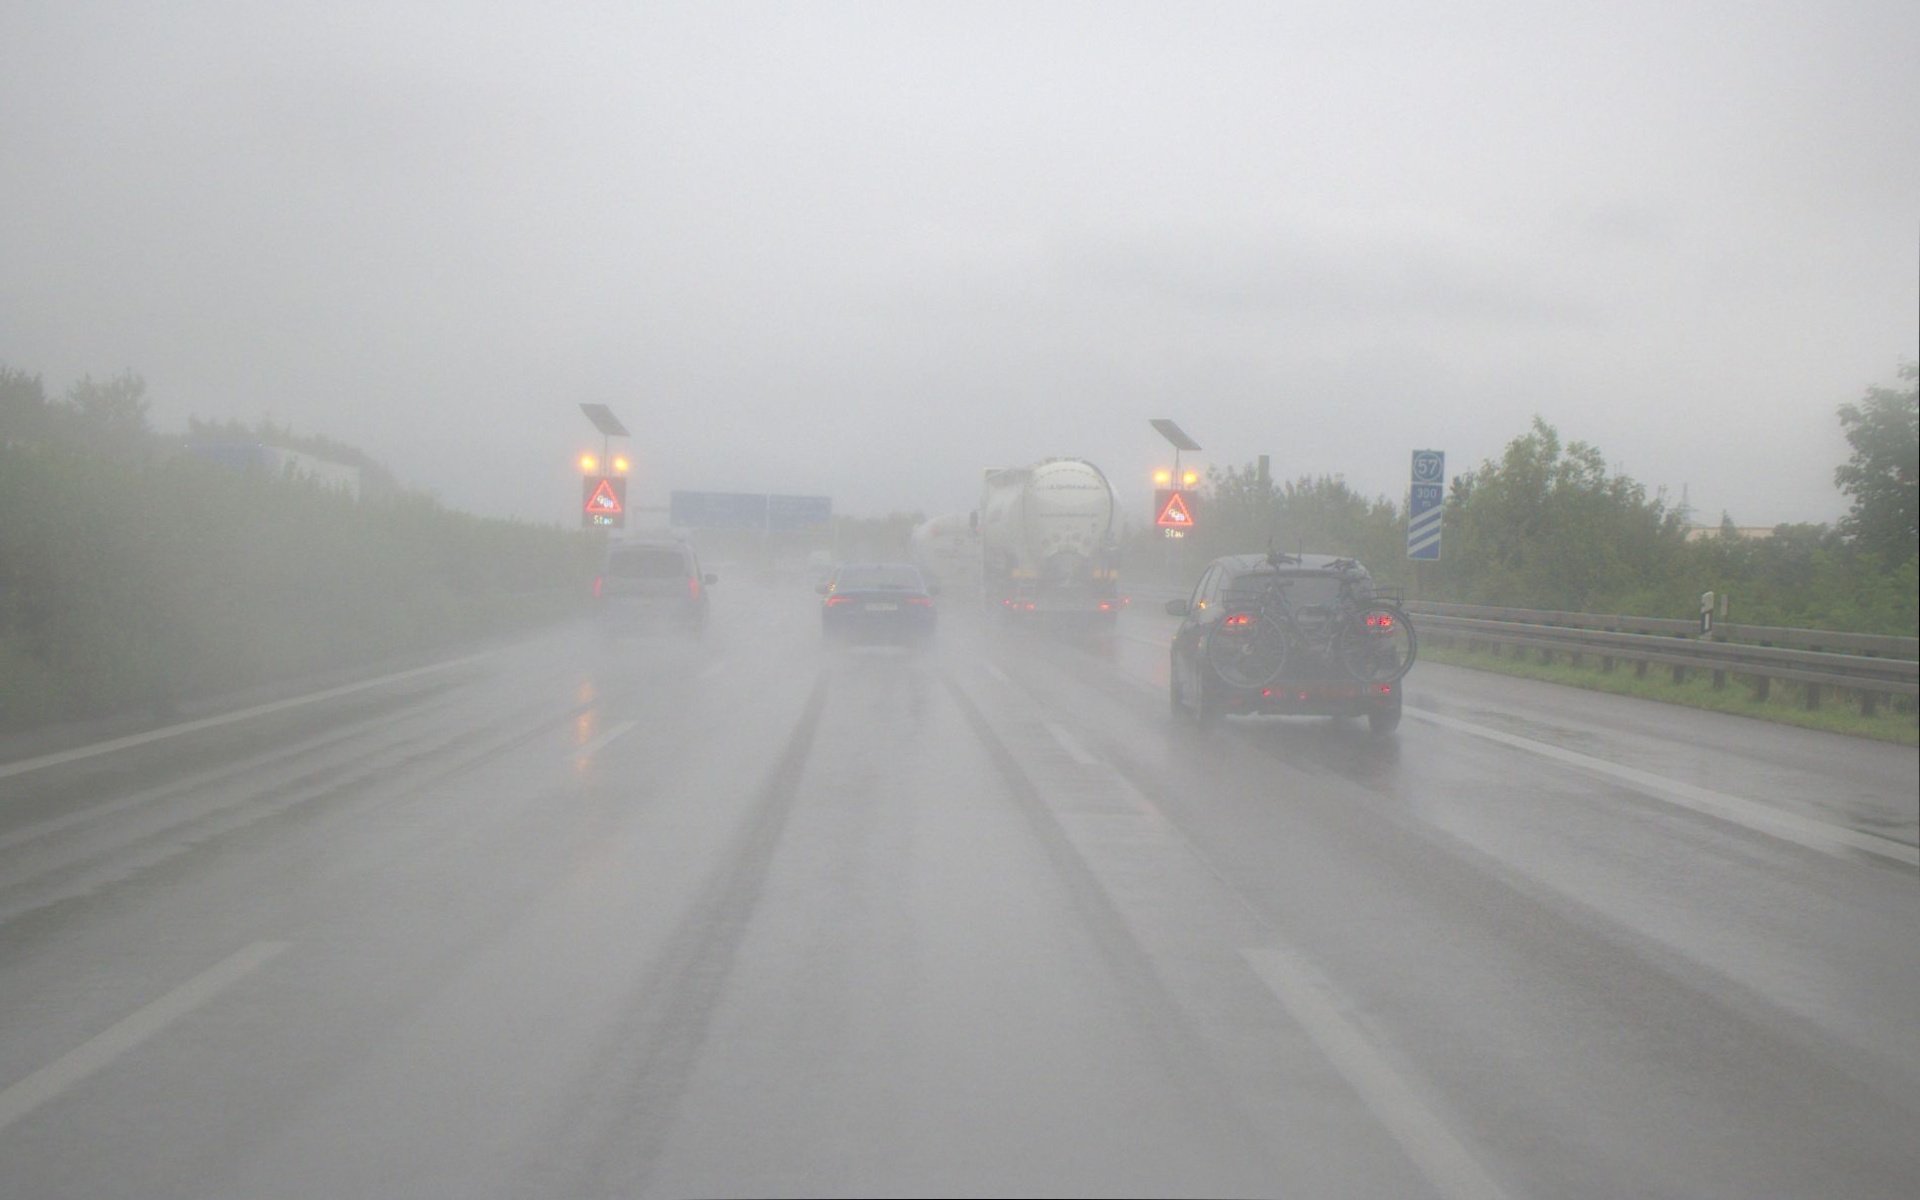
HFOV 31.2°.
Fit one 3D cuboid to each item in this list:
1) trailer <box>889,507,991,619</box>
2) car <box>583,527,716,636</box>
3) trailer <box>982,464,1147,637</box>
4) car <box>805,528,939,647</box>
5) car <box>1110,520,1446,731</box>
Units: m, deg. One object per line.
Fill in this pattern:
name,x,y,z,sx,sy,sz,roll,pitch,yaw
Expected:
trailer,-0.767,-1.319,123.123,3.004,3.835,8.625,0,0,-5
car,-5.186,-0.333,57.846,1.925,1.735,4.404,1,1,-1
trailer,2.267,-1.144,79.329,3.188,3.657,11.667,0,1,-1
car,-1.377,-0.217,53.823,1.978,1.750,4.482,1,1,-1
car,2.808,0.172,31.880,2.457,1.740,5.719,1,1,-1
